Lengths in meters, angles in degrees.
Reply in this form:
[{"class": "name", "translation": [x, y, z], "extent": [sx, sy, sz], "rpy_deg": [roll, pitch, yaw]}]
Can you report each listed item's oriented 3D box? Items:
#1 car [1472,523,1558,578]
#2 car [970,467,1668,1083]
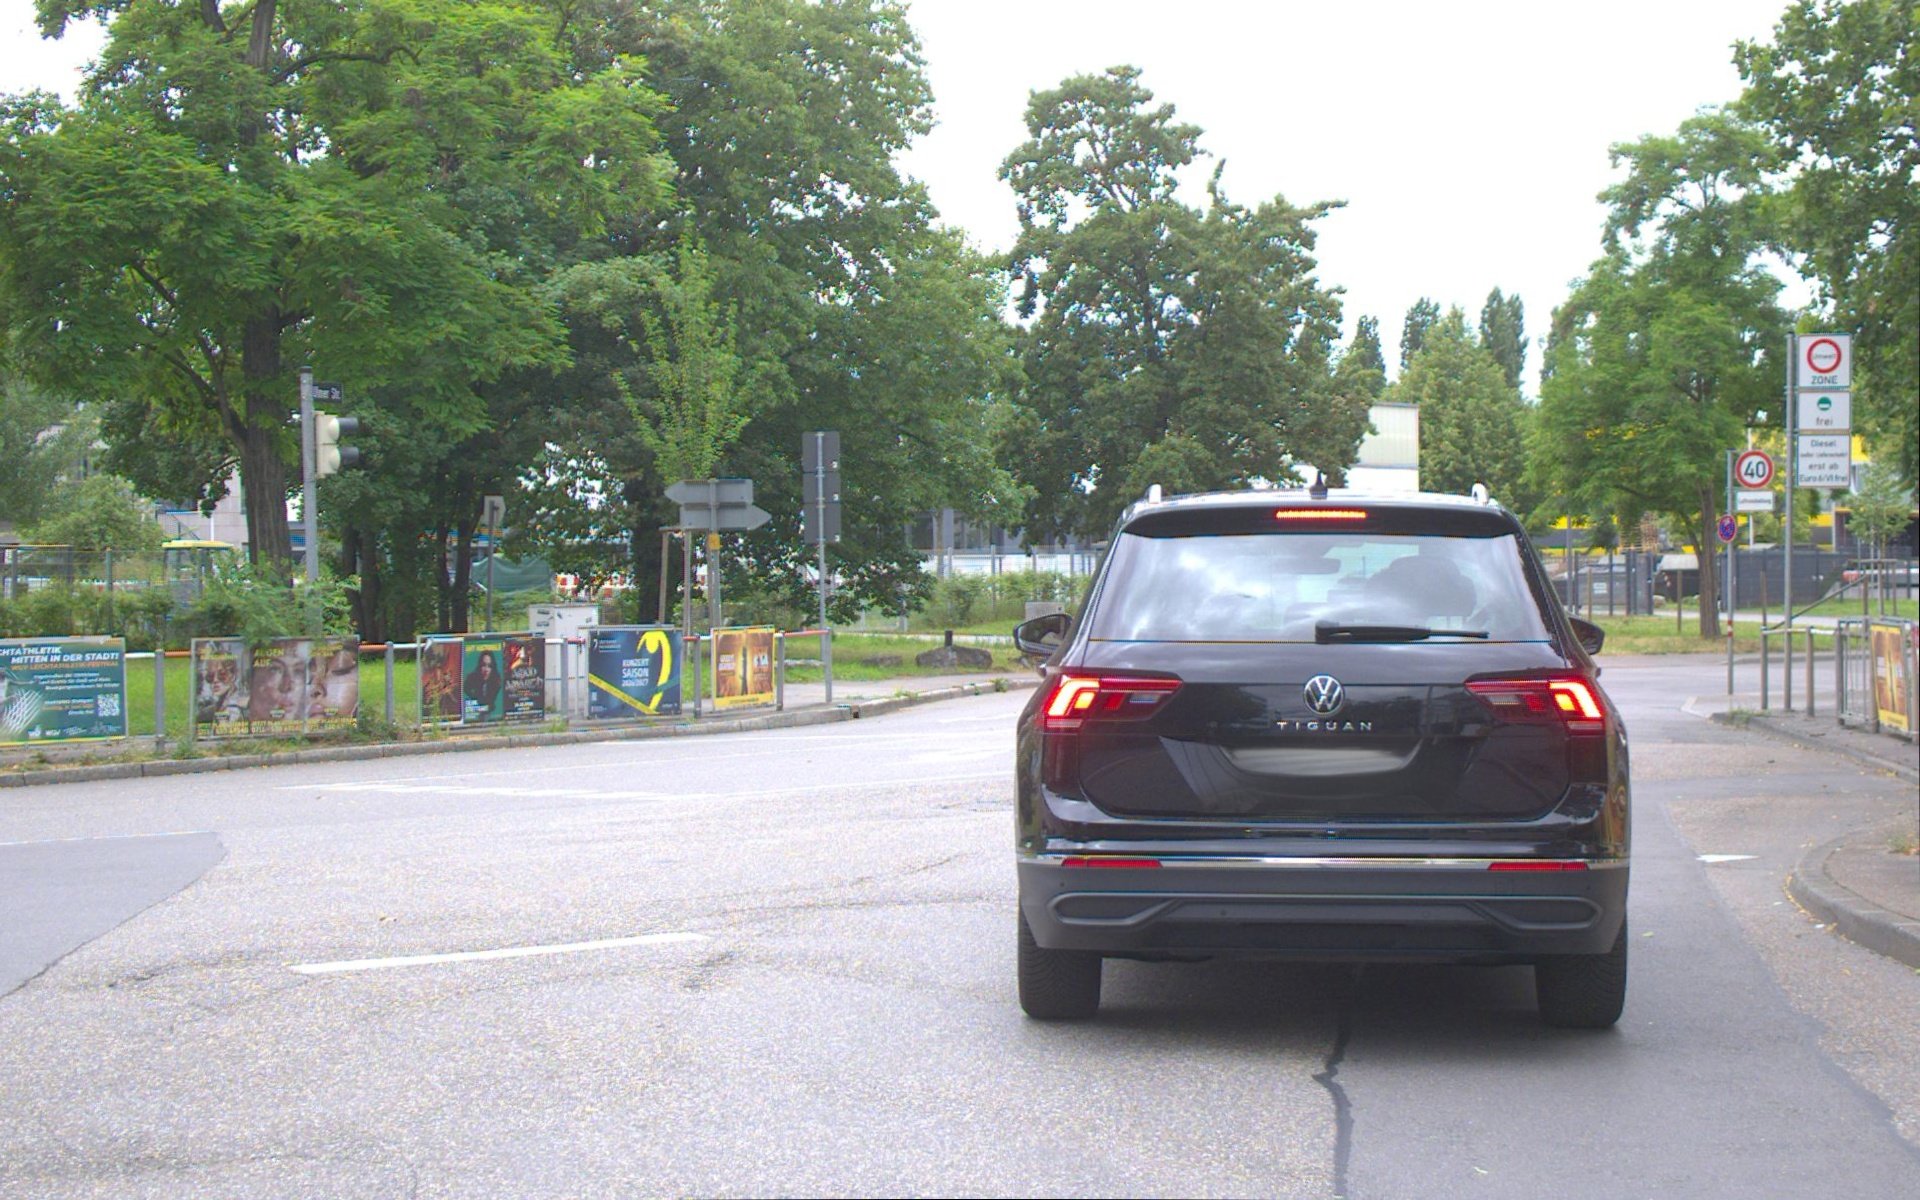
[{"class": "car", "translation": [20.738, -1.837, 128.313], "extent": [1.967, 2.007, 4.213], "rpy_deg": [0, 1, 27]}, {"class": "car", "translation": [1.074, 0.428, 11.283], "extent": [1.844, 1.630, 4.185], "rpy_deg": [0, 1, 3]}]
